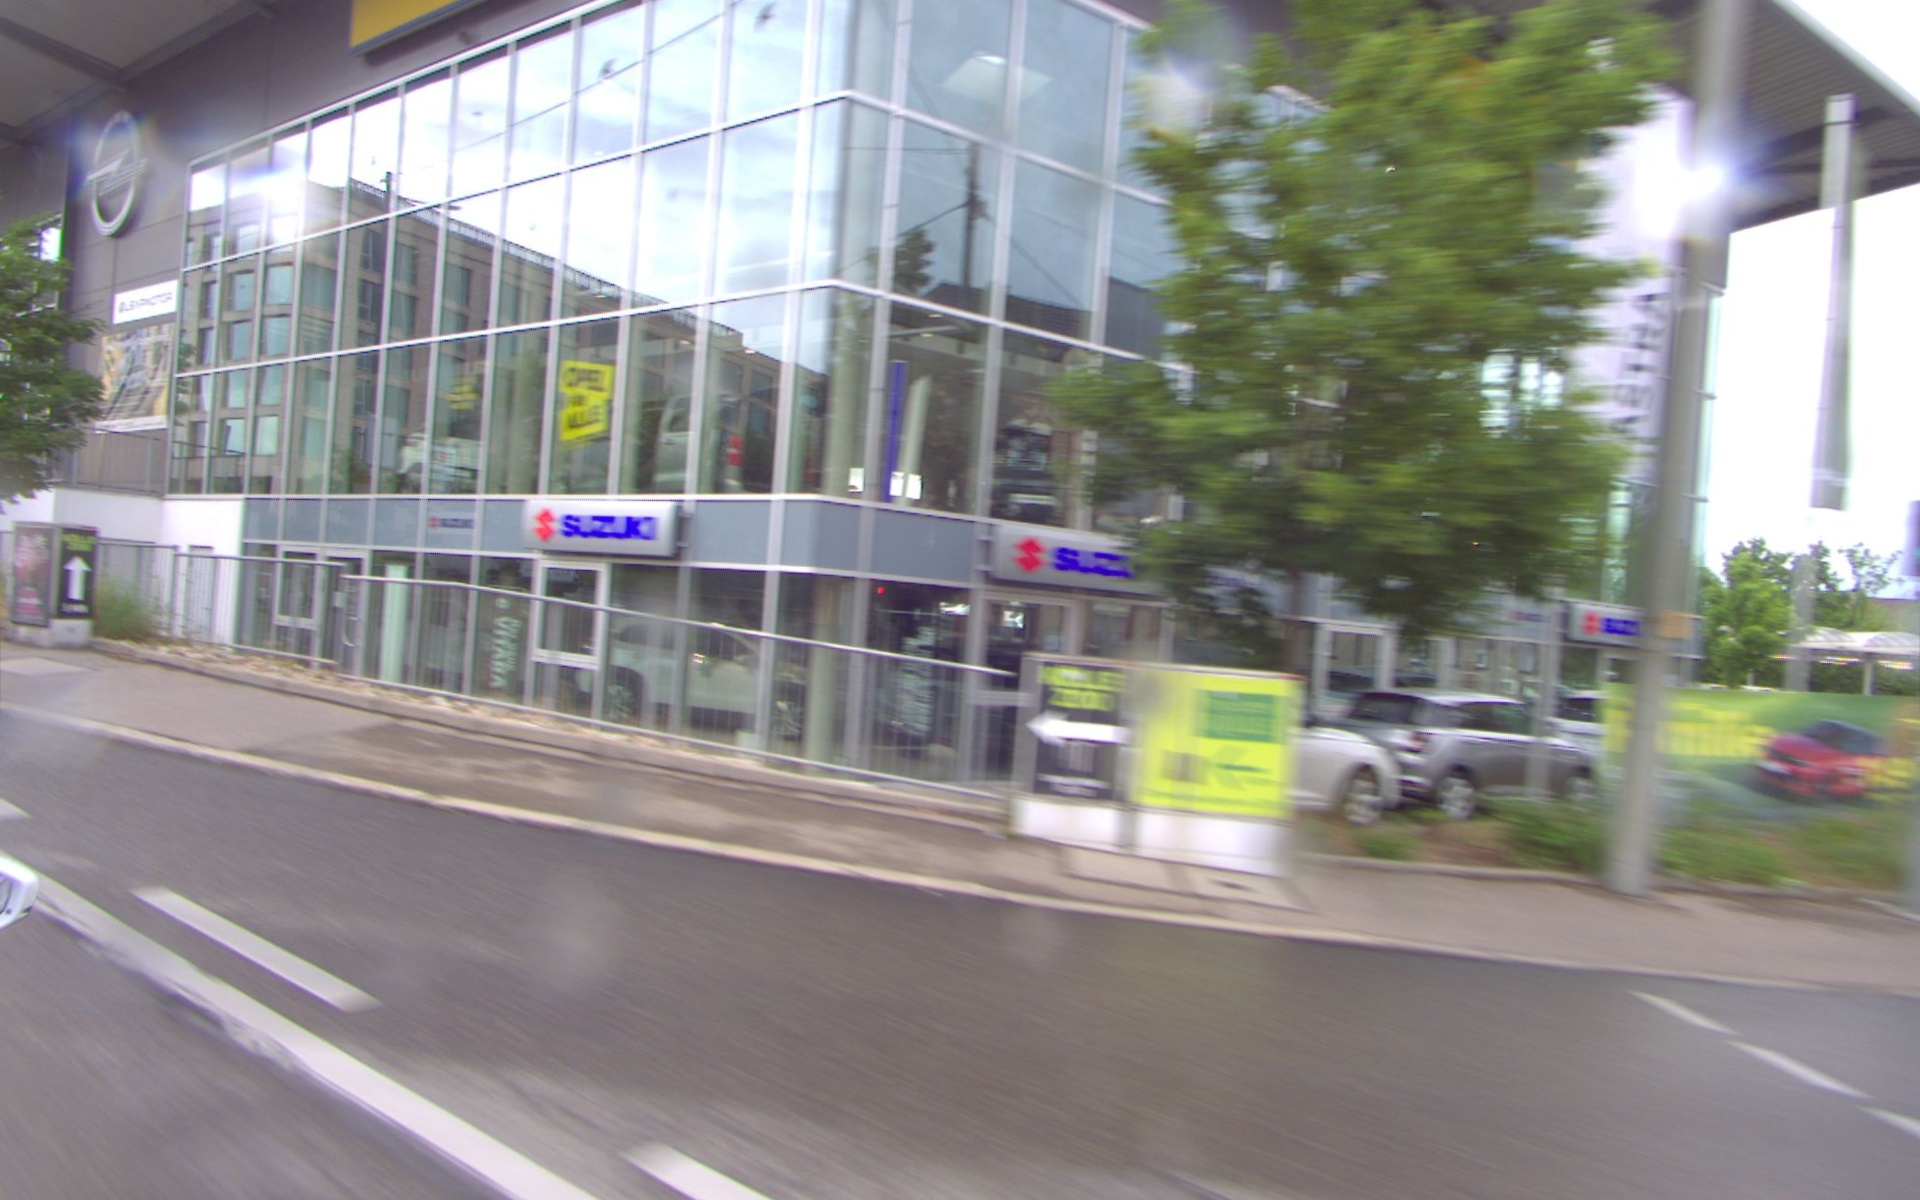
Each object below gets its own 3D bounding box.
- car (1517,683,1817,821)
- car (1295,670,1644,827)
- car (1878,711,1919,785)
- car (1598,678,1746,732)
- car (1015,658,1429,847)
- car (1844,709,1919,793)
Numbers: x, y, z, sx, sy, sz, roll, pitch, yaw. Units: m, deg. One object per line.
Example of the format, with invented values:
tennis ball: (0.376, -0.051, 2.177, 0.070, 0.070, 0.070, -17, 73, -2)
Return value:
car: (10.268, 2.201, 14.601, 3.950, 1.611, 1.814, 6, -1, -26)
car: (6.383, 1.845, 12.589, 3.950, 1.549, 1.814, 6, -1, -26)
car: (19.572, 3.012, 18.200, 1.704, 1.301, 3.969, 6, 1, -29)
car: (26.166, 3.843, 37.104, 1.891, 1.324, 3.969, 6, 1, -29)
car: (2.777, 1.543, 10.464, 3.957, 1.525, 1.885, 6, -3, -31)
car: (17.849, 2.836, 16.975, 1.704, 1.289, 3.969, 6, 1, -29)
